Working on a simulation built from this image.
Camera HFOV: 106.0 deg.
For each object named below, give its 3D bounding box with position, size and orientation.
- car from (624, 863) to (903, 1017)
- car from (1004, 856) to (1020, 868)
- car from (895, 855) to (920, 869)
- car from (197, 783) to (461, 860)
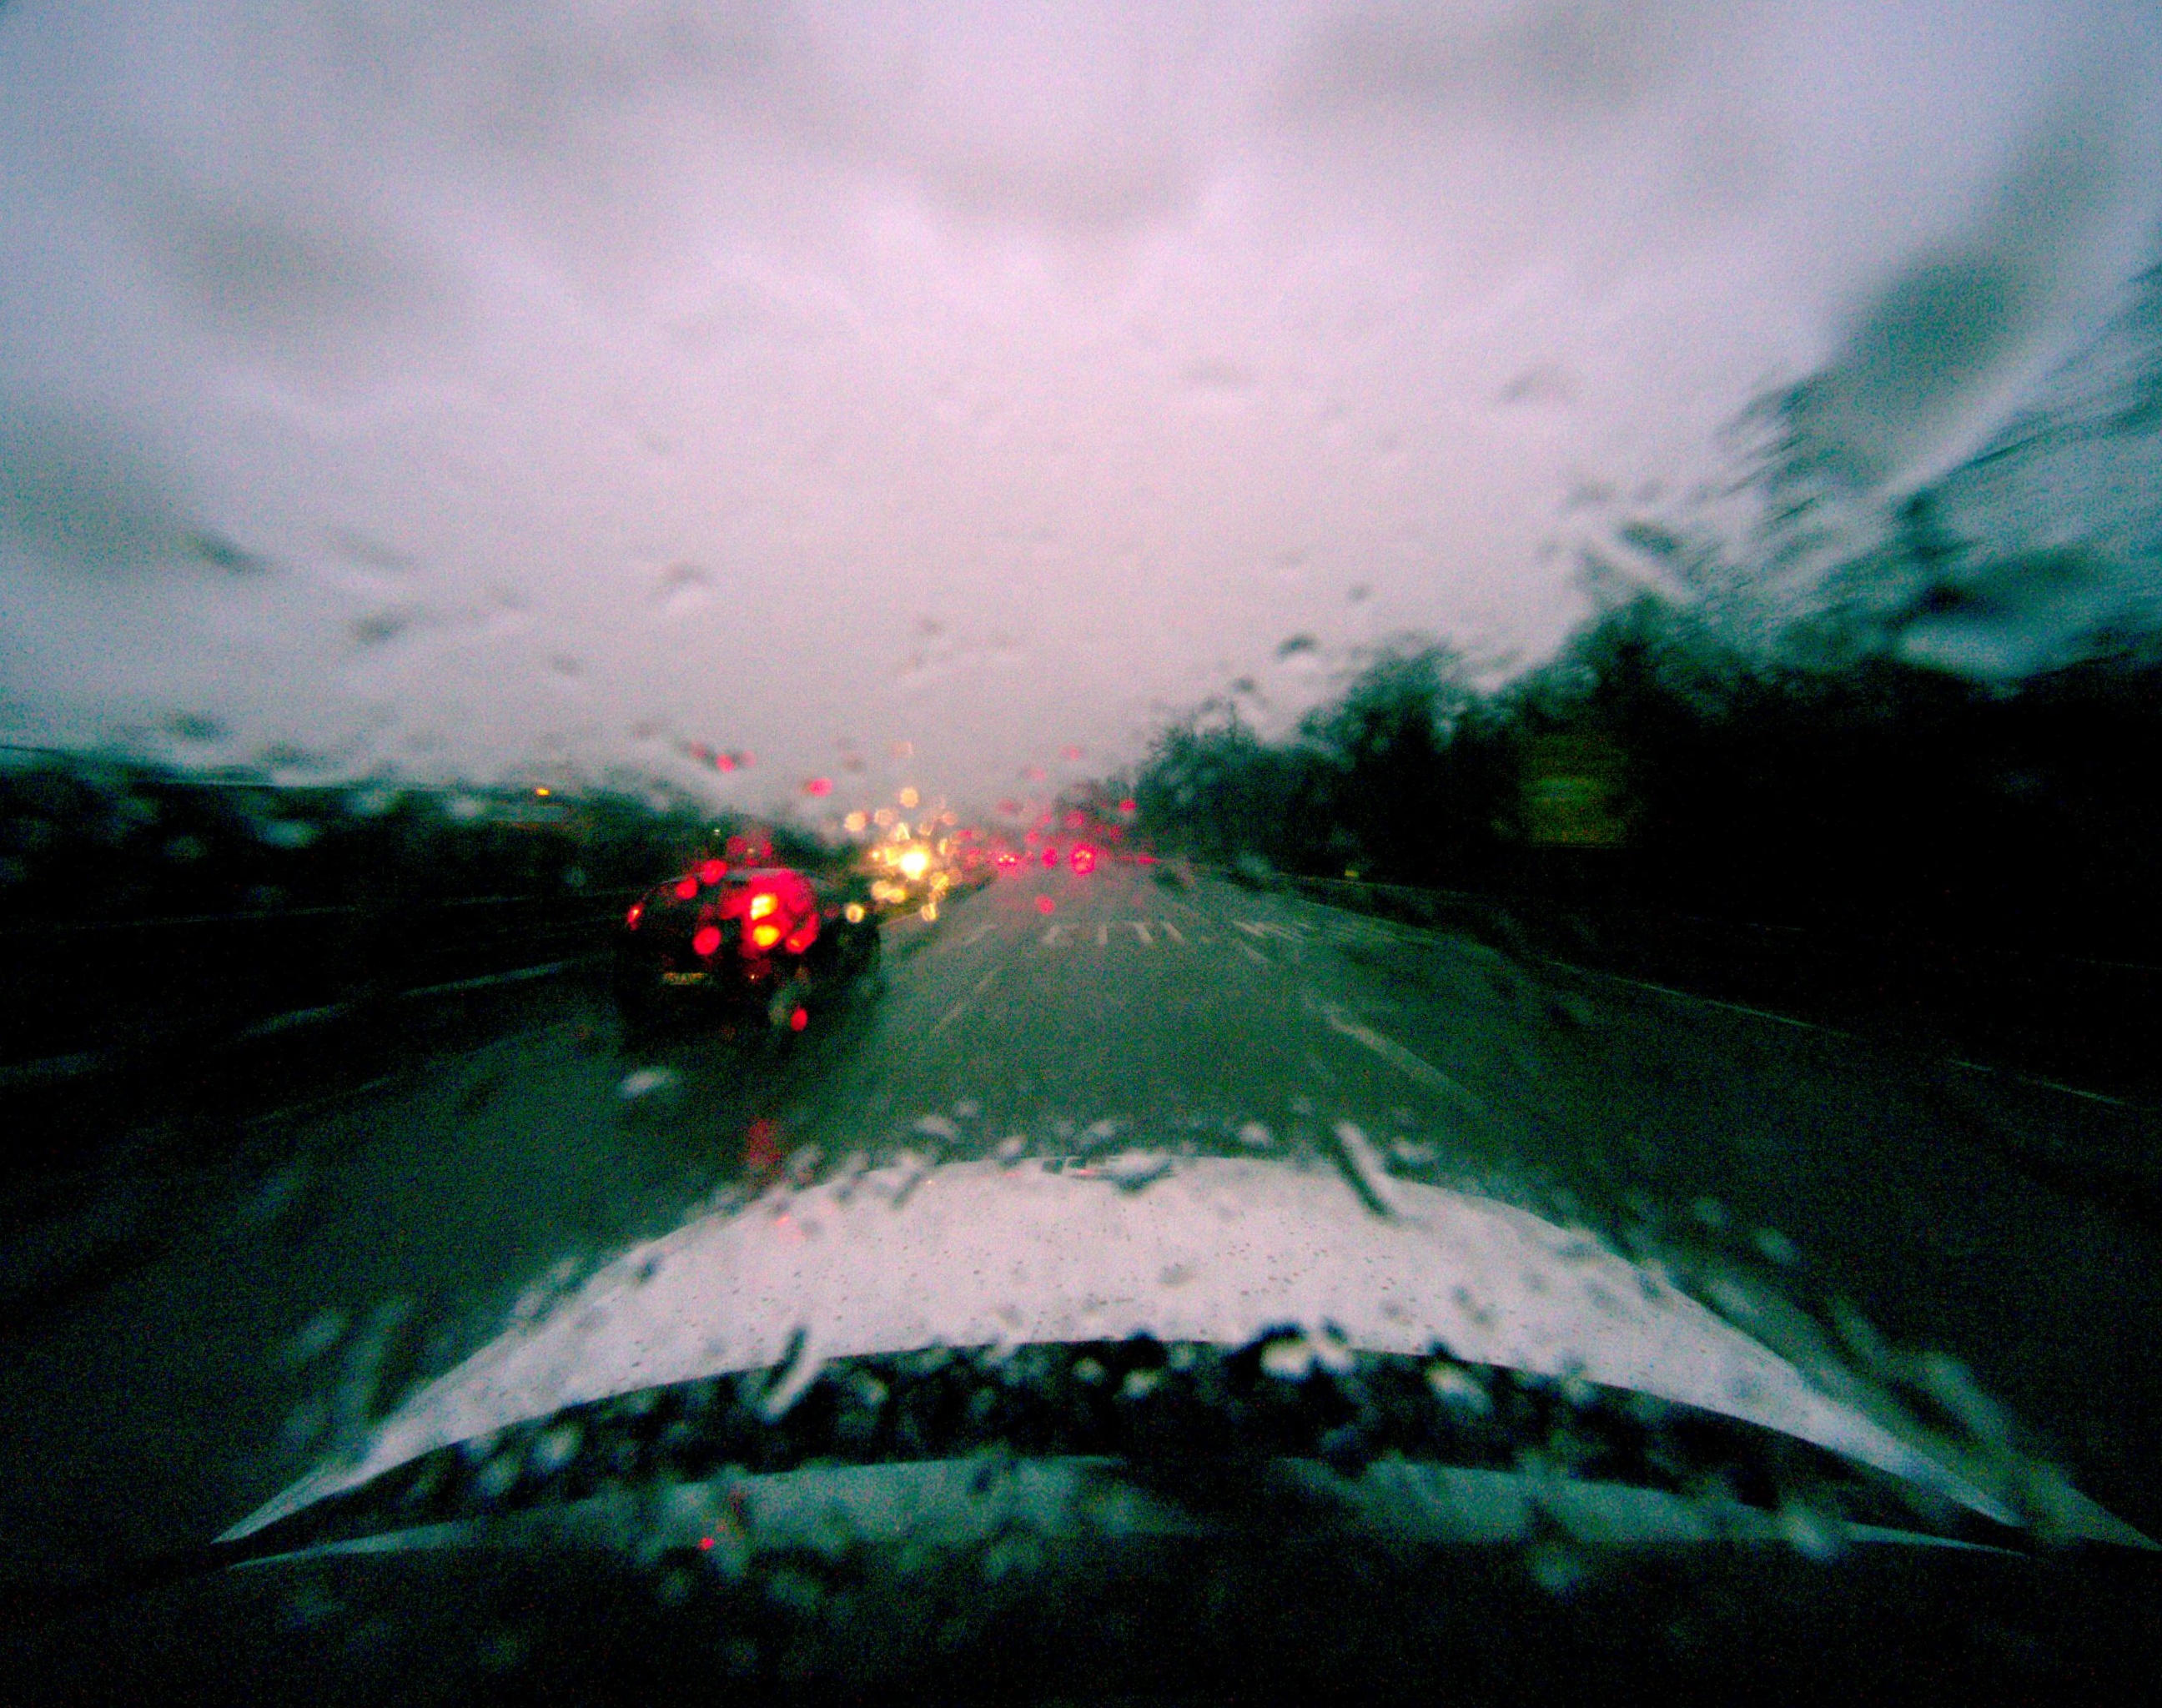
[{"bbox_3d":[-3.364,0.827,9.511,1.620,1.392,4.000,1,-1,0],"label":"car"},{"bbox_3d":[-7.830,0.960,93.044,1.410,1.317,3.084,1,0,2],"label":"car"},{"bbox_3d":[-22.695,1.039,106.621,1.785,1.683,4.695,-2,0,4],"label":"car"},{"bbox_3d":[-36.112,-1.424,39.981,3.178,3.210,9.949,-2,0,4],"label":"car"}]
